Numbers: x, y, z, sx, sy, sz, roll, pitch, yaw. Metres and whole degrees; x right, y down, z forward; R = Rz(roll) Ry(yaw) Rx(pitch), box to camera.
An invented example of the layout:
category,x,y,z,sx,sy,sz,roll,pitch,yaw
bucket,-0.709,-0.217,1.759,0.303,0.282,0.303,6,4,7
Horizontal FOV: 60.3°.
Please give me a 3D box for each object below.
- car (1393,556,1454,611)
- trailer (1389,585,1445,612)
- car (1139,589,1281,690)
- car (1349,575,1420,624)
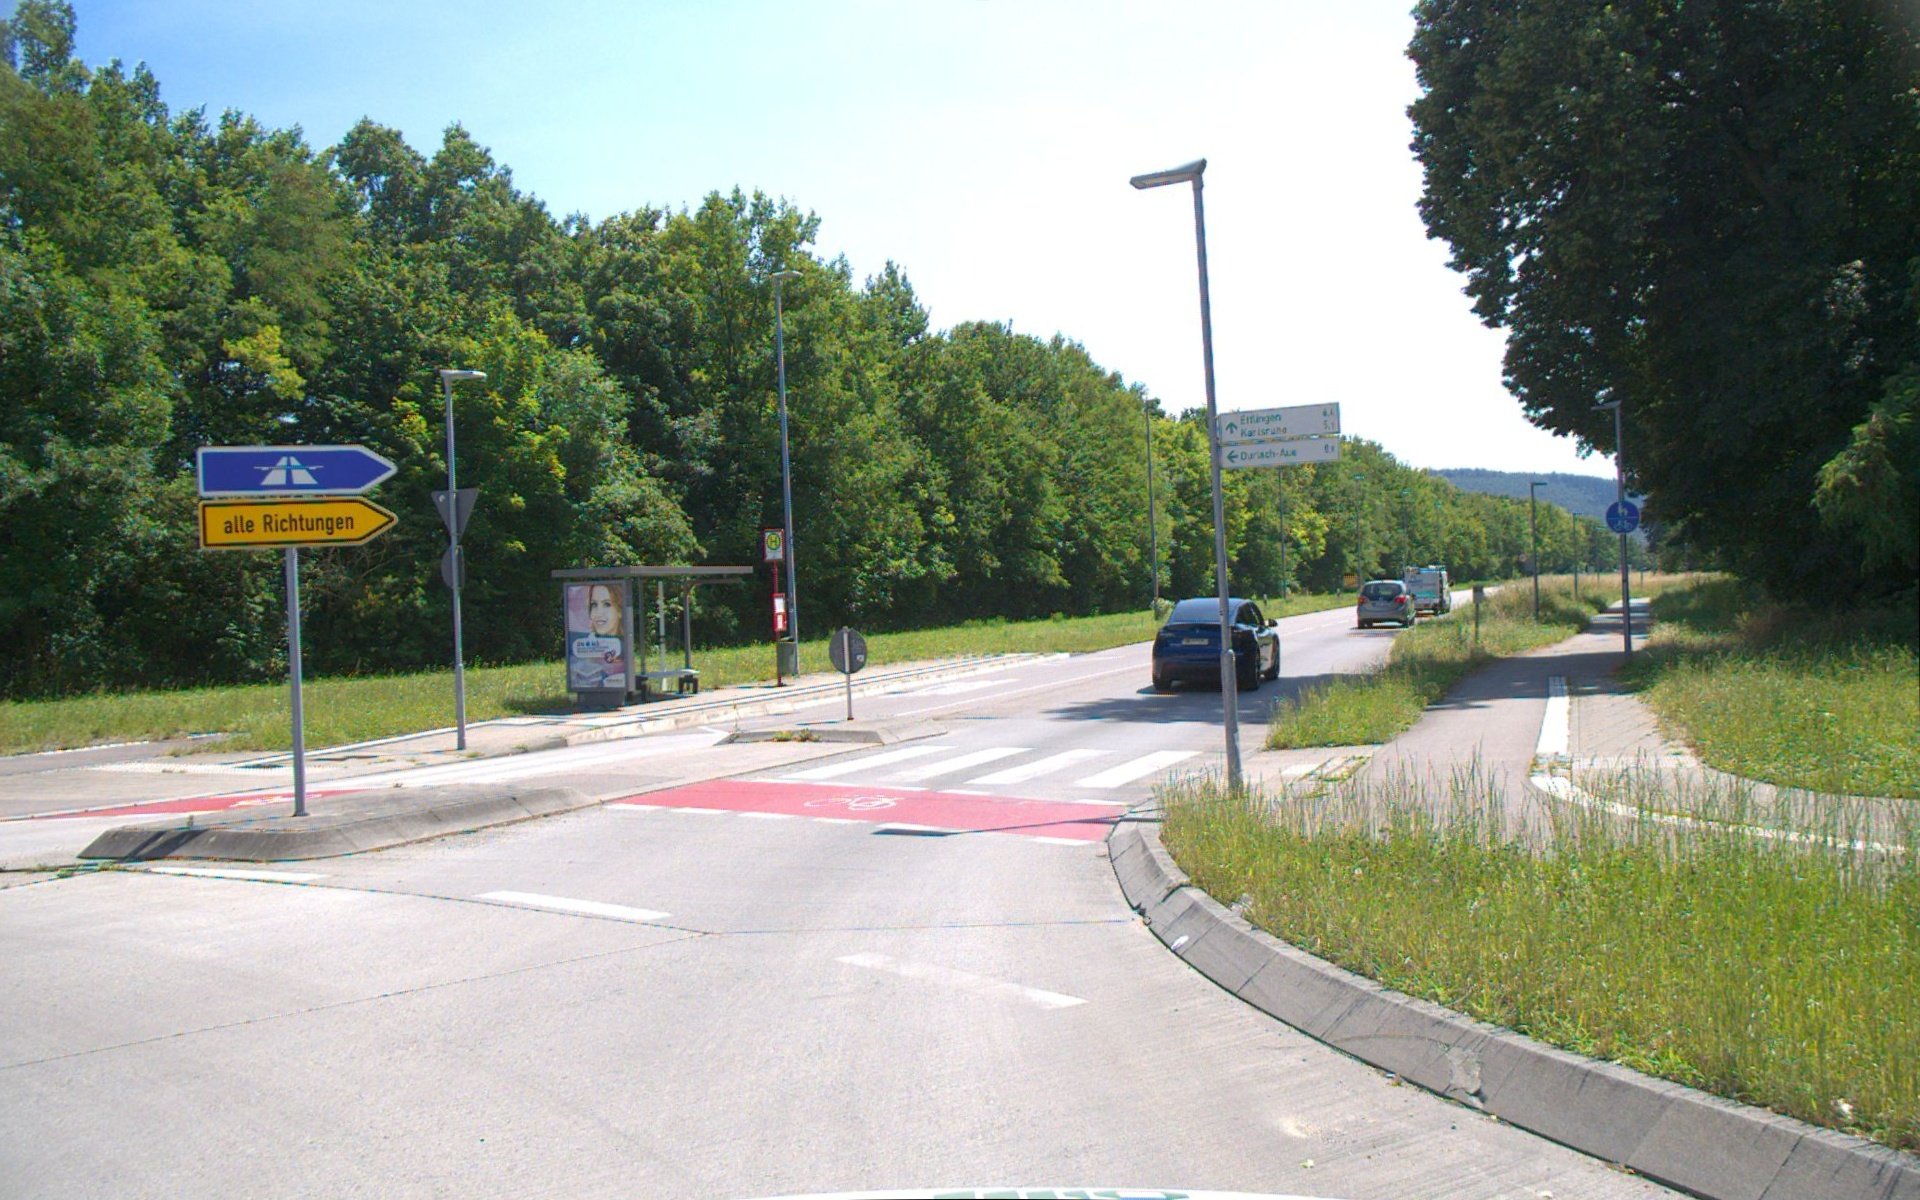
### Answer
category,x,y,z,sx,sy,sz,roll,pitch,yaw
car,21.167,-0.752,75.389,2.122,2.357,4.981,-1,0,22
trailer,19.769,-0.067,71.518,2.077,1.116,3.356,-1,0,20
car,4.809,0.691,31.217,1.951,1.668,4.760,-2,0,17
car,14.859,-0.028,57.792,1.748,1.635,4.126,-1,0,23
